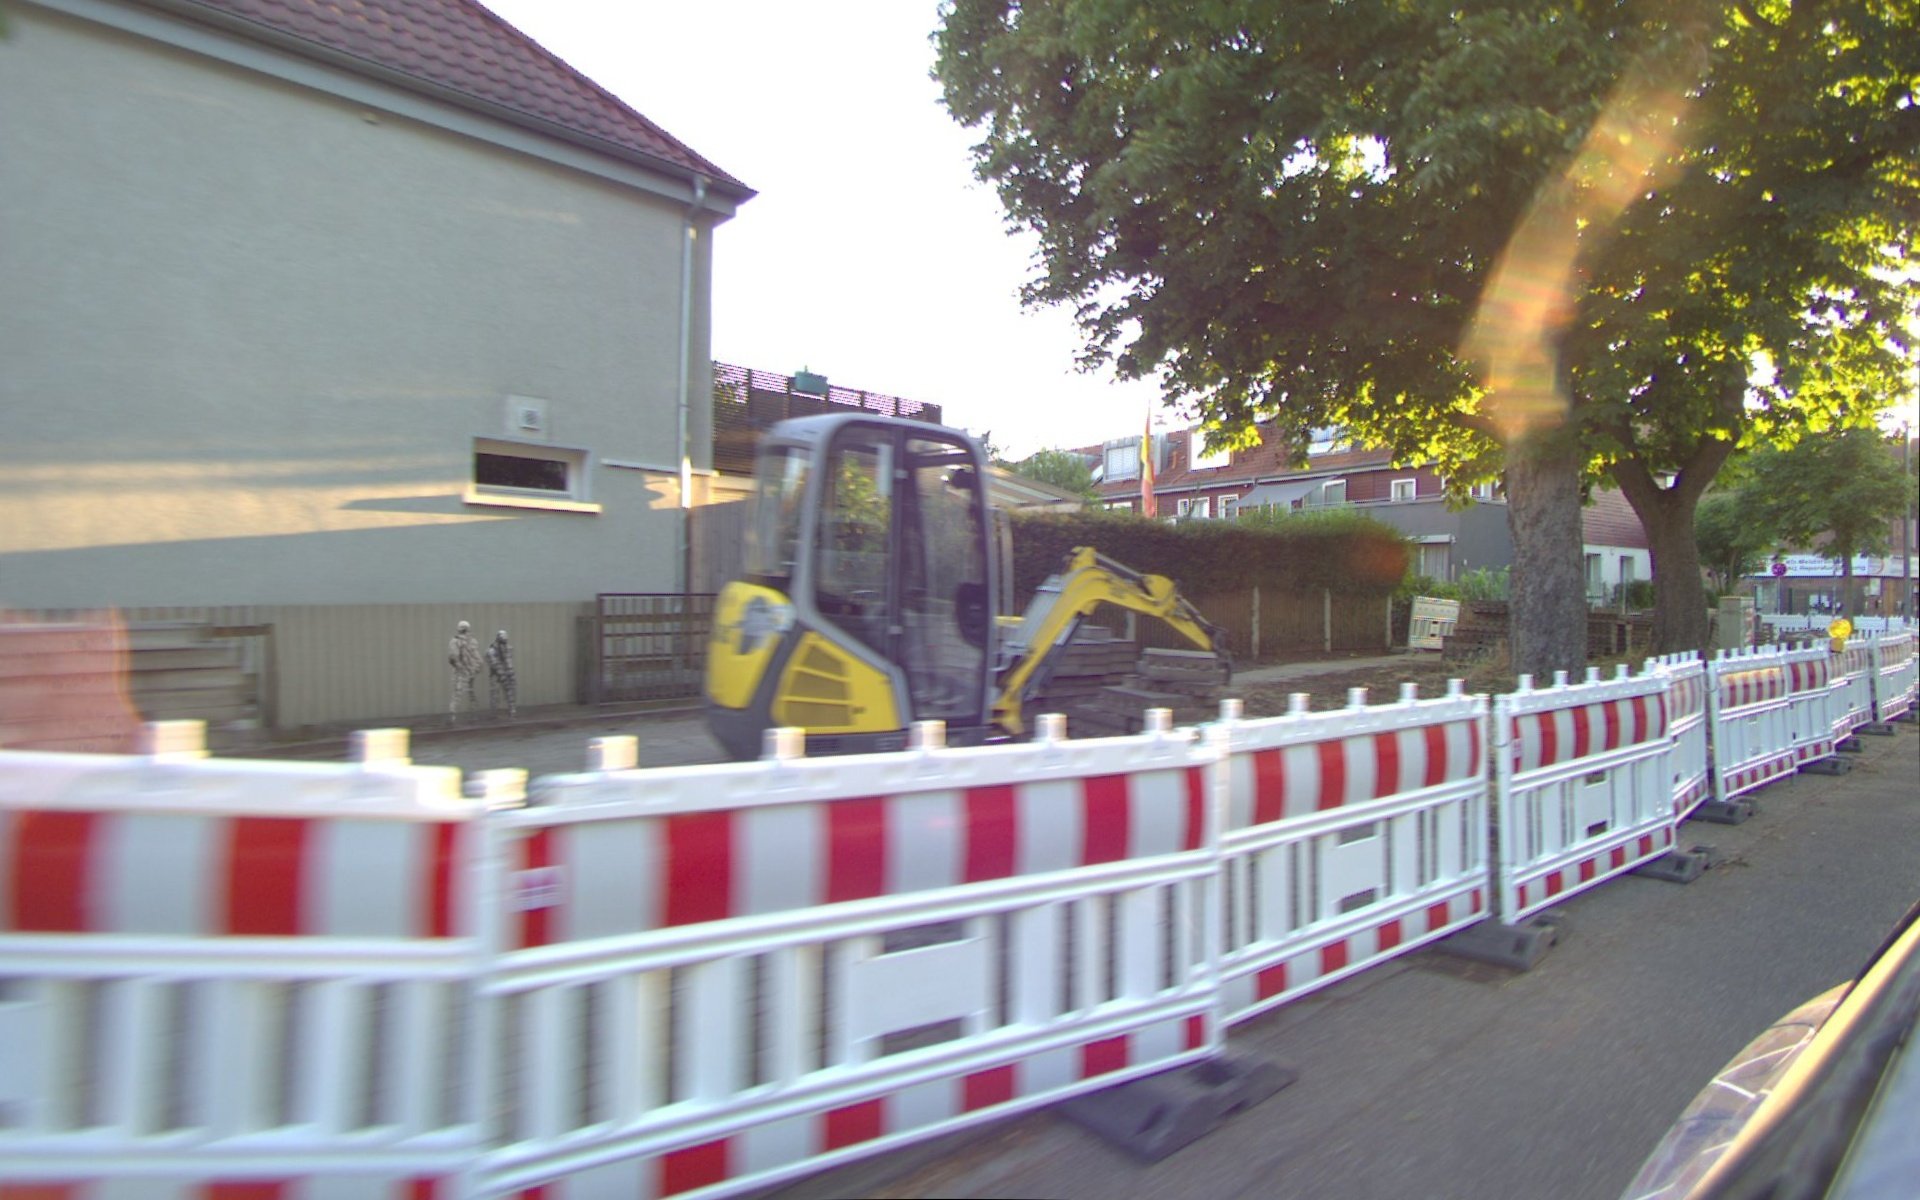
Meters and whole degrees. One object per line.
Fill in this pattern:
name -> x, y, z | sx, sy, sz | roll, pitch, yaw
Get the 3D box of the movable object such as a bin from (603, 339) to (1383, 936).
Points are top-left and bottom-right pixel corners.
movable object such as a bin -> 0.601, 0.168, 6.912 | 2.627, 2.433, 5.116 | 0, -1, 43
